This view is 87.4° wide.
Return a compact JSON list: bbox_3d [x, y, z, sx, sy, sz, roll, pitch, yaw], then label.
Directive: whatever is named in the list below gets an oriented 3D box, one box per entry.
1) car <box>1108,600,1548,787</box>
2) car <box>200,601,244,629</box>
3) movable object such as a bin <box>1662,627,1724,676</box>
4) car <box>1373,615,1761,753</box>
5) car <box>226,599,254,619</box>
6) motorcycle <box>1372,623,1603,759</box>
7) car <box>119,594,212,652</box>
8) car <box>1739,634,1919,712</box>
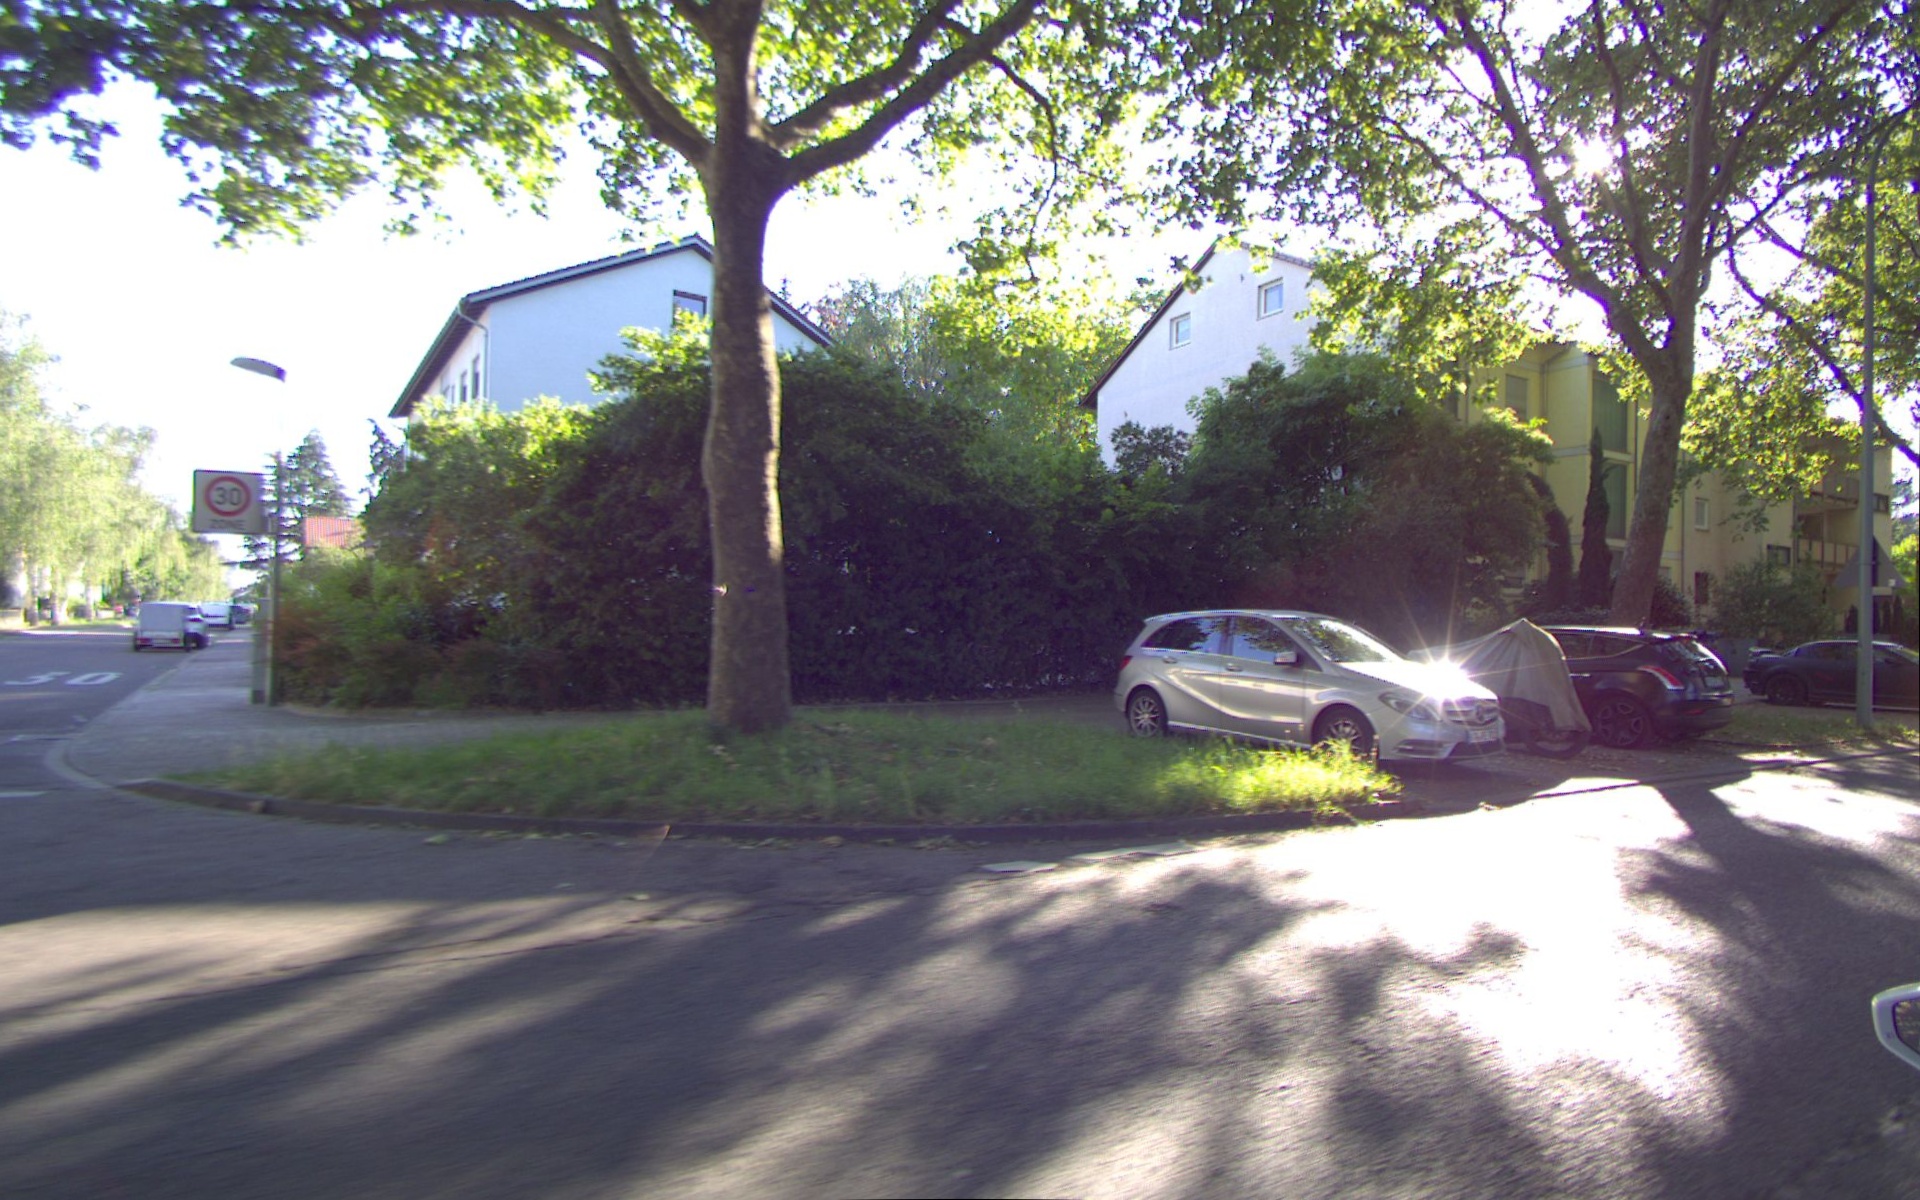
[{"bbox_3d":[3.772,0.836,10.984,1.980,1.605,4.157,2,-1,-34],"label":"car"},{"bbox_3d":[-48.857,0.981,66.548,1.978,1.762,3.965,2,-1,-32],"label":"car"},{"bbox_3d":[21.358,1.491,29.277,0.942,1.368,1.180,2,-2,-30],"label":"movable object such as a bin"},{"bbox_3d":[7.975,0.996,13.585,1.783,1.526,4.135,2,-1,-33],"label":"car"},{"bbox_3d":[-67.629,0.857,94.386,1.979,1.762,3.963,2,-1,-33],"label":"car"},{"bbox_3d":[6.136,1.005,11.851,0.642,1.407,2.369,2,-1,-35],"label":"motorcycle"},{"bbox_3d":[-25.883,0.728,32.863,1.883,1.762,3.965,2,-1,-32],"label":"car"},{"bbox_3d":[17.923,1.396,19.428,1.722,1.371,4.218,2,-2,-31],"label":"car"}]
